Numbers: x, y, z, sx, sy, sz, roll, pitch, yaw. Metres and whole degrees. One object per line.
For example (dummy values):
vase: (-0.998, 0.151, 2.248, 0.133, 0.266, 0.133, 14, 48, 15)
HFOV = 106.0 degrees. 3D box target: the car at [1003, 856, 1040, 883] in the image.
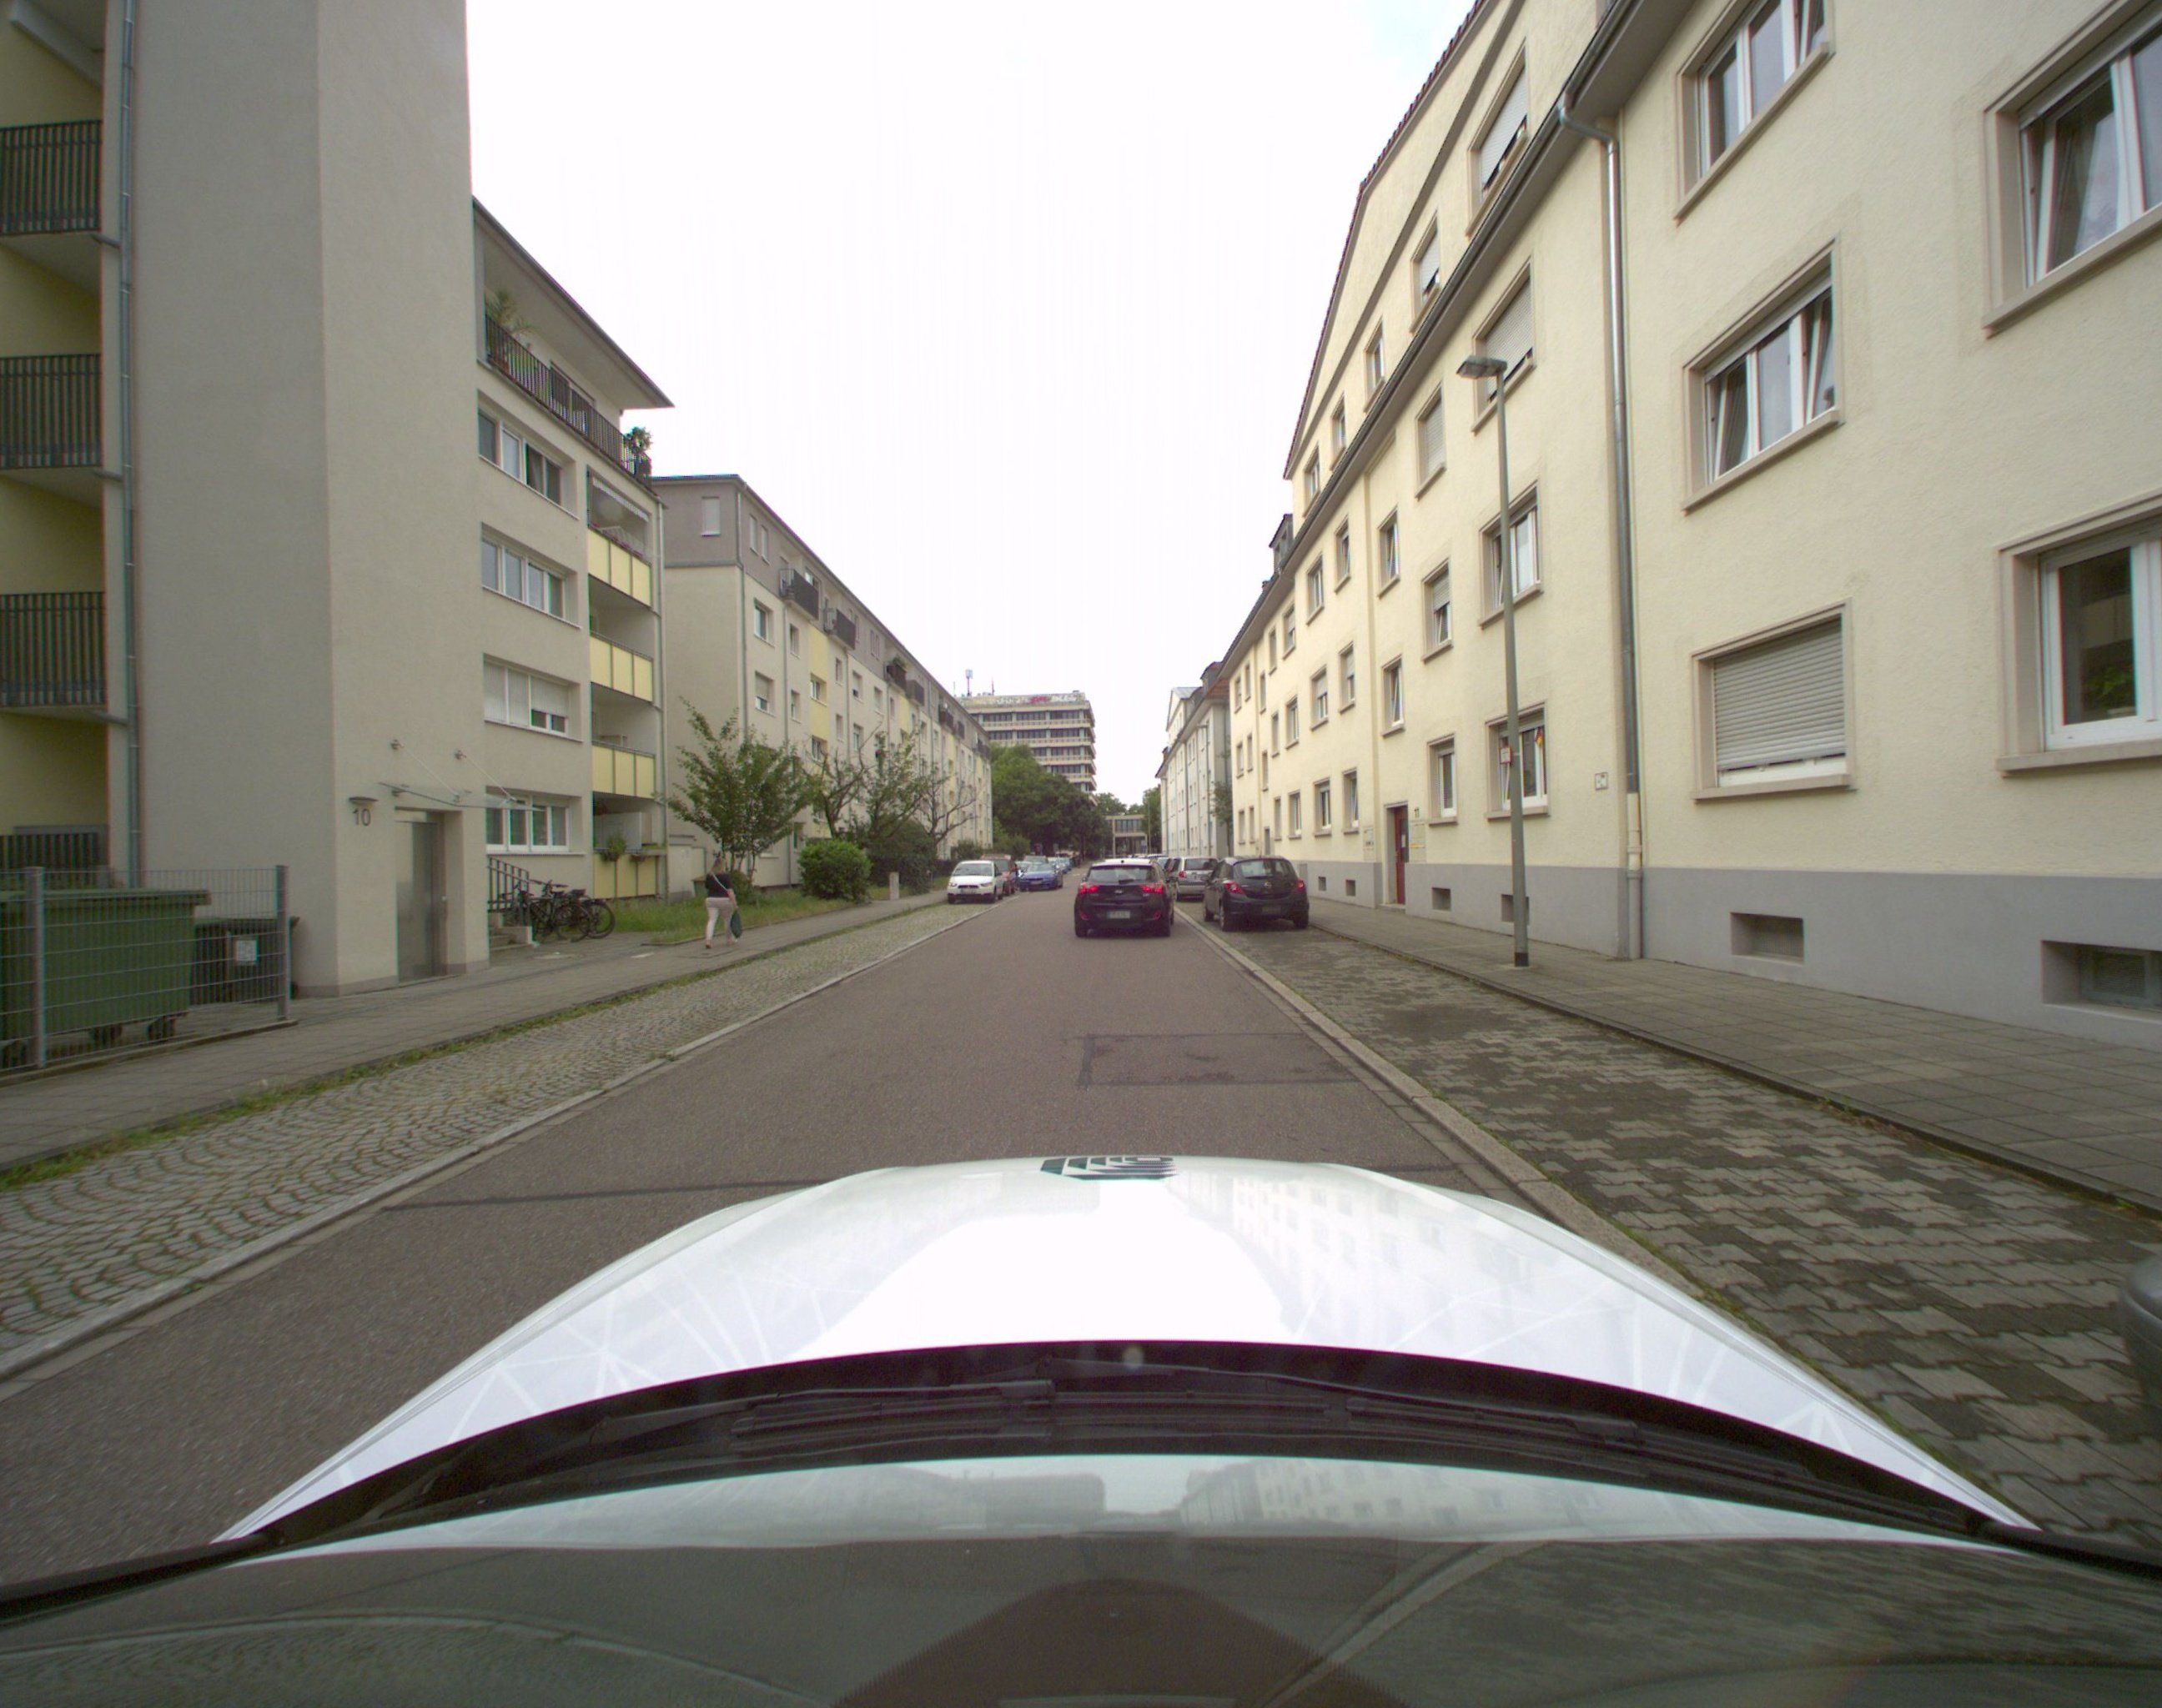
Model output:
car: (-3.436, 0.870, 47.424, 1.738, 1.464, 3.787, -2, 0, 2)

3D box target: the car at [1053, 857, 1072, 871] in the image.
car: (-2.052, 1.070, 91.235, 1.987, 1.541, 3.999, -1, 0, -1)

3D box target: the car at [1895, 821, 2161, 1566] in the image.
car: (3.026, 0.663, 0.133, 1.719, 1.517, 4.060, -2, 0, 0)

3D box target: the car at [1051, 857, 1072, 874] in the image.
car: (-1.855, 1.068, 78.923, 1.987, 1.541, 3.999, -1, 0, -1)

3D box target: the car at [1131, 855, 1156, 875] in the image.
car: (4.828, 0.812, 63.187, 1.813, 1.503, 4.093, -1, 0, 2)

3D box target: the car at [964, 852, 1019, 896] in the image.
car: (-3.861, 0.832, 35.767, 1.950, 1.770, 4.360, -1, 0, -1)

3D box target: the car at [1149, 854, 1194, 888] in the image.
car: (4.159, 0.743, 37.968, 1.718, 1.476, 4.507, -1, 0, 2)

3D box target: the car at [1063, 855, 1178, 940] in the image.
car: (0.945, 0.781, 16.560, 1.892, 1.433, 4.243, -2, 0, 8)

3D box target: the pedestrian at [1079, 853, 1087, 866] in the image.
pedestrian: (0.225, 0.734, 104.626, 0.968, 1.654, 0.981, -2, 0, 3)

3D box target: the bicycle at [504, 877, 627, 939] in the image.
bicycle: (-10.324, 1.073, 16.338, 2.017, 1.141, 0.623, -1, 0, -2)

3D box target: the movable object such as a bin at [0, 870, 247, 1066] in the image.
movable object such as a bin: (-7.972, 0.861, 6.720, 0.800, 1.429, 1.290, -1, 0, 5)

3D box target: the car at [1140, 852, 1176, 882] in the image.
car: (4.377, 0.704, 46.724, 1.813, 1.642, 4.094, -1, 0, 3)

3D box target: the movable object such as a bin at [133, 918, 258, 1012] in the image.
movable object such as a bin: (-9.660, 1.197, 8.910, 0.633, 0.922, 0.652, -1, 0, 2)

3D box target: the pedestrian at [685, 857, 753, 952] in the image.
pedestrian: (-6.459, 0.875, 14.569, 0.797, 1.610, 0.946, -1, 0, -3)

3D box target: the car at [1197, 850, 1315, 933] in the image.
car: (3.586, 0.701, 17.399, 1.719, 1.517, 4.062, -2, 0, 1)

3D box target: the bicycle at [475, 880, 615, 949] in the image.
bicycle: (-9.724, 1.076, 14.830, 2.021, 1.141, 0.621, -1, 0, -8)

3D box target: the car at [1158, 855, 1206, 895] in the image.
car: (4.024, 0.800, 32.932, 1.597, 1.476, 3.871, -1, 0, 2)

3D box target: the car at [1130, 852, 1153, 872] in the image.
car: (5.026, 0.632, 68.291, 1.813, 1.603, 4.094, -2, 0, 3)

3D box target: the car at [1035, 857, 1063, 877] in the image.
car: (-2.481, 0.989, 64.429, 1.888, 1.452, 4.523, 1, 0, 2)

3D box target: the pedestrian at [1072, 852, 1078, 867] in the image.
pedestrian: (-0.730, 0.705, 104.866, 0.711, 1.831, 0.798, -1, 0, 3)

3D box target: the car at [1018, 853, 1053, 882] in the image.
car: (-2.925, 0.855, 52.963, 1.888, 1.740, 4.476, 1, 0, 2)

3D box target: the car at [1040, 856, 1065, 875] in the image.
car: (-2.430, 0.947, 70.603, 1.888, 1.599, 4.523, 1, 0, 2)

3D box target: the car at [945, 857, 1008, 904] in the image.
car: (-3.766, 0.920, 29.941, 1.714, 1.570, 3.872, 0, 0, 2)

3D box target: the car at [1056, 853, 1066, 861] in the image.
car: (-3.646, 0.556, 149.527, 1.659, 1.333, 3.397, -1, 0, 2)

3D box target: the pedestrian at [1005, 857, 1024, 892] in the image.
pedestrian: (-3.333, 1.017, 40.910, 0.742, 1.701, 0.792, -2, 0, -16)

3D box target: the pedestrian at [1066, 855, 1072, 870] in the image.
pedestrian: (-1.546, 1.114, 104.759, 0.602, 1.831, 0.676, -1, 0, 3)

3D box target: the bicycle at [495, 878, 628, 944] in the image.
bicycle: (-9.827, 1.068, 15.455, 2.022, 1.141, 0.621, -1, 0, -9)

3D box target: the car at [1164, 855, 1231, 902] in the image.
car: (3.873, 0.767, 27.639, 1.842, 1.450, 3.834, -1, 0, 2)

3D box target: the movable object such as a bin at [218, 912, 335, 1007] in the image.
movable object such as a bin: (-8.991, 1.168, 9.121, 0.633, 0.965, 0.652, -1, 0, 2)

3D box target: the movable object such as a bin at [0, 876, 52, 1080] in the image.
movable object such as a bin: (-8.057, 0.884, 5.399, 0.800, 1.429, 1.289, -1, 0, 4)

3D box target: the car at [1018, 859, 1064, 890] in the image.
car: (-1.937, 0.979, 41.042, 1.837, 1.451, 4.504, -1, 0, 3)
